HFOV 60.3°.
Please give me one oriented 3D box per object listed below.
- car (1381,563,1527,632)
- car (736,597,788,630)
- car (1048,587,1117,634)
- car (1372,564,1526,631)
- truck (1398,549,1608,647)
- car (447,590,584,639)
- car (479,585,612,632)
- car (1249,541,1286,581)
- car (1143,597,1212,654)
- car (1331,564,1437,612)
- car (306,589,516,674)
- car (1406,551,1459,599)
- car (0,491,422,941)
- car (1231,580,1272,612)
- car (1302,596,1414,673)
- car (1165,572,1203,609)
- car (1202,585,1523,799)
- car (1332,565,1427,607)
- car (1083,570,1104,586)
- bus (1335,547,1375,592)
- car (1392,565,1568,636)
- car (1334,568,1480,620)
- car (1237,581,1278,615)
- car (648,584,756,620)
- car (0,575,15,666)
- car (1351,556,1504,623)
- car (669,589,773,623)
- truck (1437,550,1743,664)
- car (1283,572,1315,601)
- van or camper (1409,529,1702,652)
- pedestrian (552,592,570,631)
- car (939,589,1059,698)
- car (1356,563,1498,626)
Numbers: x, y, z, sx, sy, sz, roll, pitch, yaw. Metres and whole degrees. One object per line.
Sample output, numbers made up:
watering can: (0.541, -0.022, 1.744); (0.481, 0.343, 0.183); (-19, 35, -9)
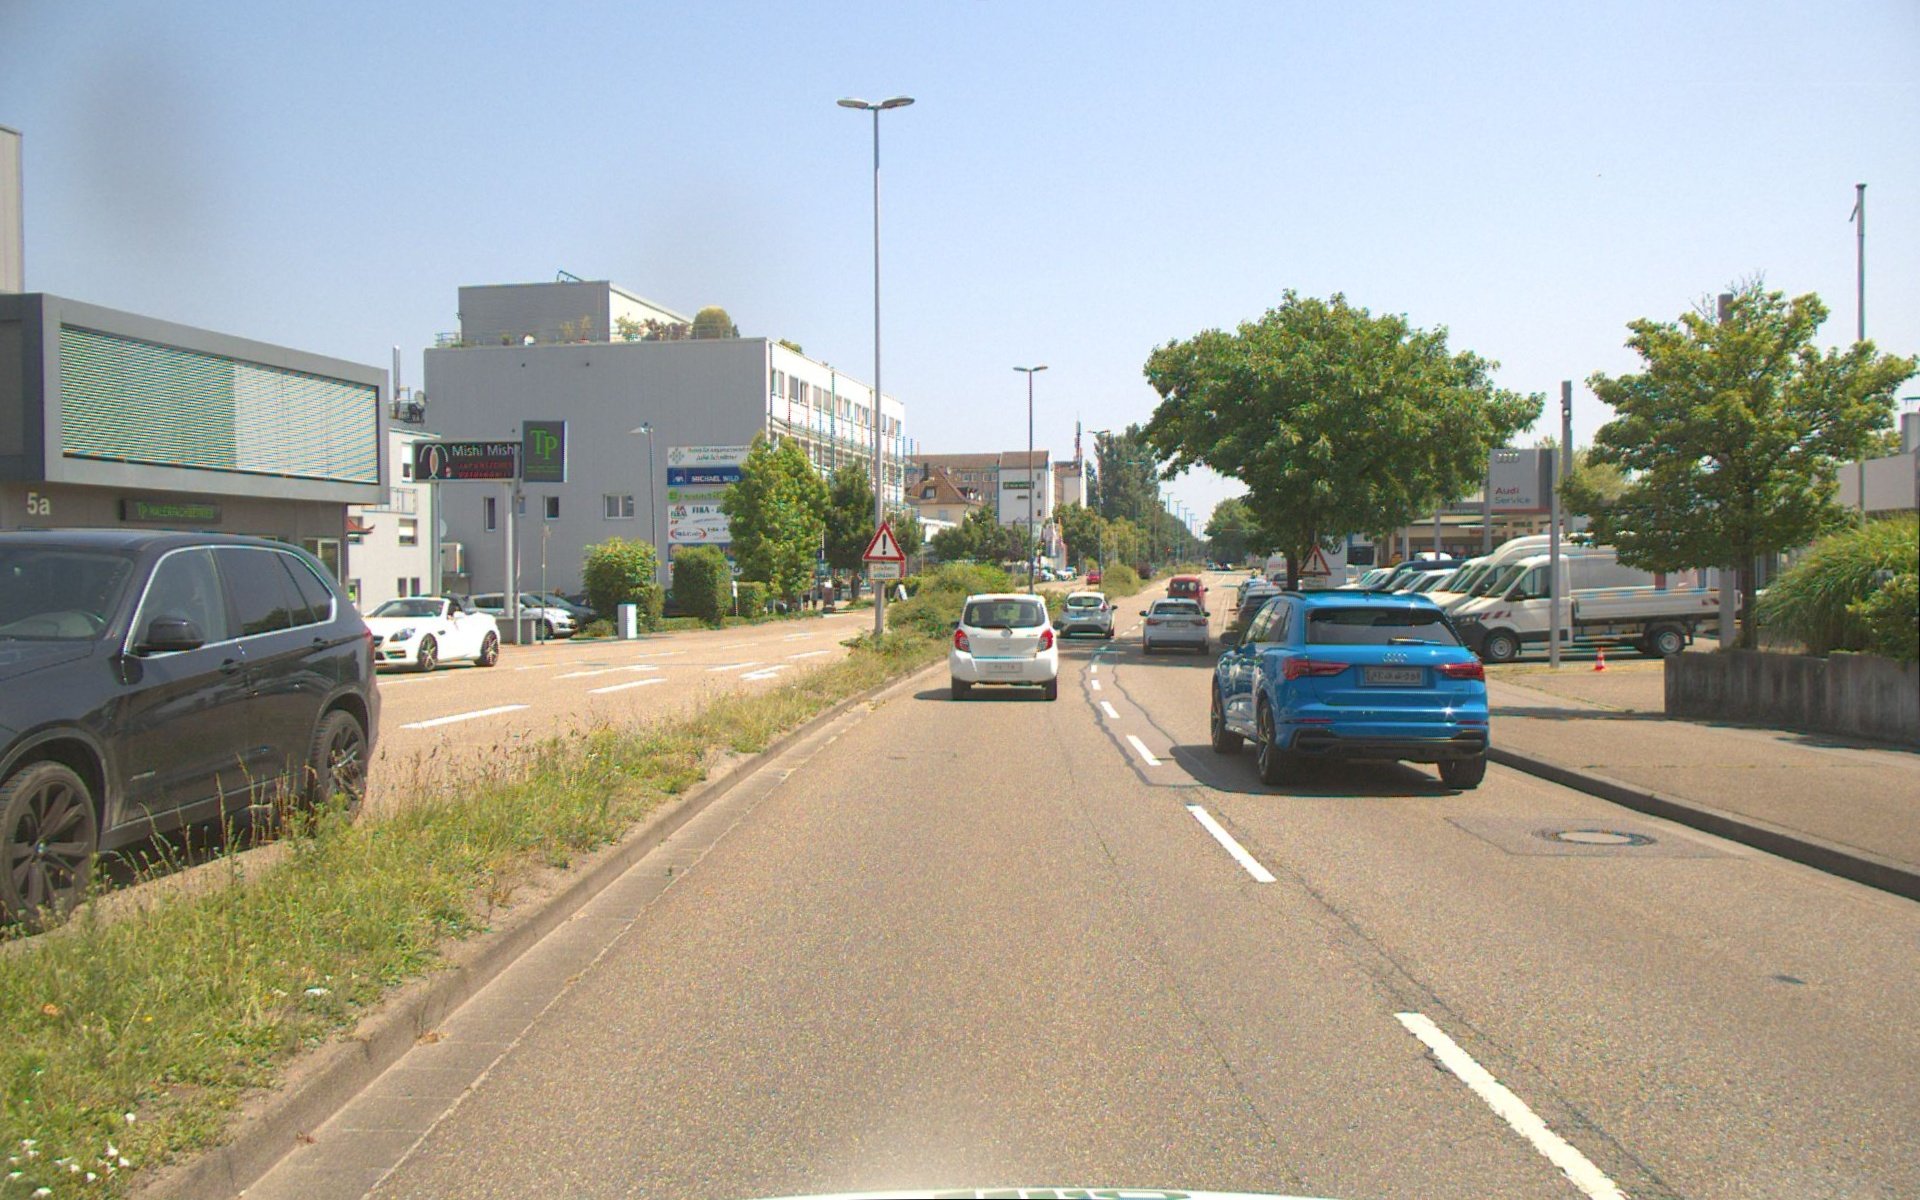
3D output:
car: (16.648, -0.071, 55.947); (4.413, 2.049, 2.200); (-3, -1, 10)
car: (-10.049, 0.691, 84.247); (1.624, 1.493, 3.801); (-3, 1, 8)
car: (3.983, 0.338, 54.406); (1.793, 1.475, 3.998); (1, 0, -2)
car: (17.362, -0.095, 58.943); (4.956, 2.133, 2.042); (-2, 0, 8)
truck: (14.676, -0.063, 44.957); (5.135, 2.478, 2.113); (-2, 1, 11)
car: (-14.108, 0.461, 52.556); (3.903, 1.485, 1.576); (0, -1, 4)
car: (-13.849, 0.281, 55.304); (3.911, 1.395, 1.671); (-2, 1, 11)
car: (24.106, -3.007, 130.055); (2.088, 2.888, 7.314); (-4, 0, 6)
car: (5.795, 0.644, 43.773); (1.631, 1.424, 3.796); (0, 0, 10)
car: (19.812, -0.557, 77.379); (4.541, 2.048, 1.962); (-2, 1, 7)
car: (-9.592, 0.512, 29.291); (1.766, 1.378, 4.359); (0, 0, 8)
car: (27.820, -1.497, 97.558); (2.208, 2.722, 7.024); (-1, 1, 9)
car: (-4.604, 0.467, 8.420); (1.869, 1.781, 4.762); (1, -1, 4)
car: (15.071, -0.227, 85.731); (1.696, 1.579, 4.183); (0, 1, 4)
car: (8.130, 0.664, 34.125); (1.759, 1.430, 4.324); (1, 0, 7)
car: (10.894, -0.450, 80.570); (1.756, 1.759, 3.976); (1, 0, 7)
car: (3.439, 0.690, 15.013); (1.873, 1.625, 4.396); (0, 1, 0)
car: (19.582, -0.622, 77.333); (4.062, 1.812, 1.883); (-2, -1, 8)
car: (13.305, -2.171, 164.945); (1.596, 1.448, 3.454); (-3, 0, 11)
bus: (29.548, -2.401, 123.953); (2.744, 3.132, 12.297); (0, 2, 13)
car: (15.749, 0.006, 50.369); (4.808, 2.005, 2.144); (-1, 0, 9)
car: (18.648, -0.283, 69.301); (5.768, 2.049, 2.261); (1, 1, 12)
car: (14.425, -0.099, 80.386); (1.677, 1.575, 4.794); (-1, 0, 7)
car: (-10.924, 0.076, 70.145); (4.060, 1.365, 2.044); (-2, 1, 7)
car: (-18.412, 0.370, 27.789); (3.970, 1.548, 2.001); (-1, 0, 6)
car: (18.690, -0.406, 66.402); (5.718, 2.568, 2.206); (1, -1, 12)
car: (-10.521, 0.259, 72.936); (4.133, 1.372, 1.982); (-2, 1, 8)
truck: (14.153, 0.138, 37.556); (6.112, 2.377, 2.371); (-1, 1, 10)
car: (20.177, -0.809, 98.595); (1.631, 1.623, 4.617); (-1, 1, 9)
van or camper: (14.989, -0.243, 42.030); (6.651, 2.948, 2.277); (-1, 1, 8)
pedestrian: (-17.380, 0.498, 71.975); (0.534, 1.686, 0.625); (1, -1, 8)
car: (0.655, 0.645, 25.390); (1.676, 1.537, 3.248); (1, -1, 4)
car: (17.297, -0.226, 61.432); (4.795, 2.151, 2.131); (-2, 1, 8)
